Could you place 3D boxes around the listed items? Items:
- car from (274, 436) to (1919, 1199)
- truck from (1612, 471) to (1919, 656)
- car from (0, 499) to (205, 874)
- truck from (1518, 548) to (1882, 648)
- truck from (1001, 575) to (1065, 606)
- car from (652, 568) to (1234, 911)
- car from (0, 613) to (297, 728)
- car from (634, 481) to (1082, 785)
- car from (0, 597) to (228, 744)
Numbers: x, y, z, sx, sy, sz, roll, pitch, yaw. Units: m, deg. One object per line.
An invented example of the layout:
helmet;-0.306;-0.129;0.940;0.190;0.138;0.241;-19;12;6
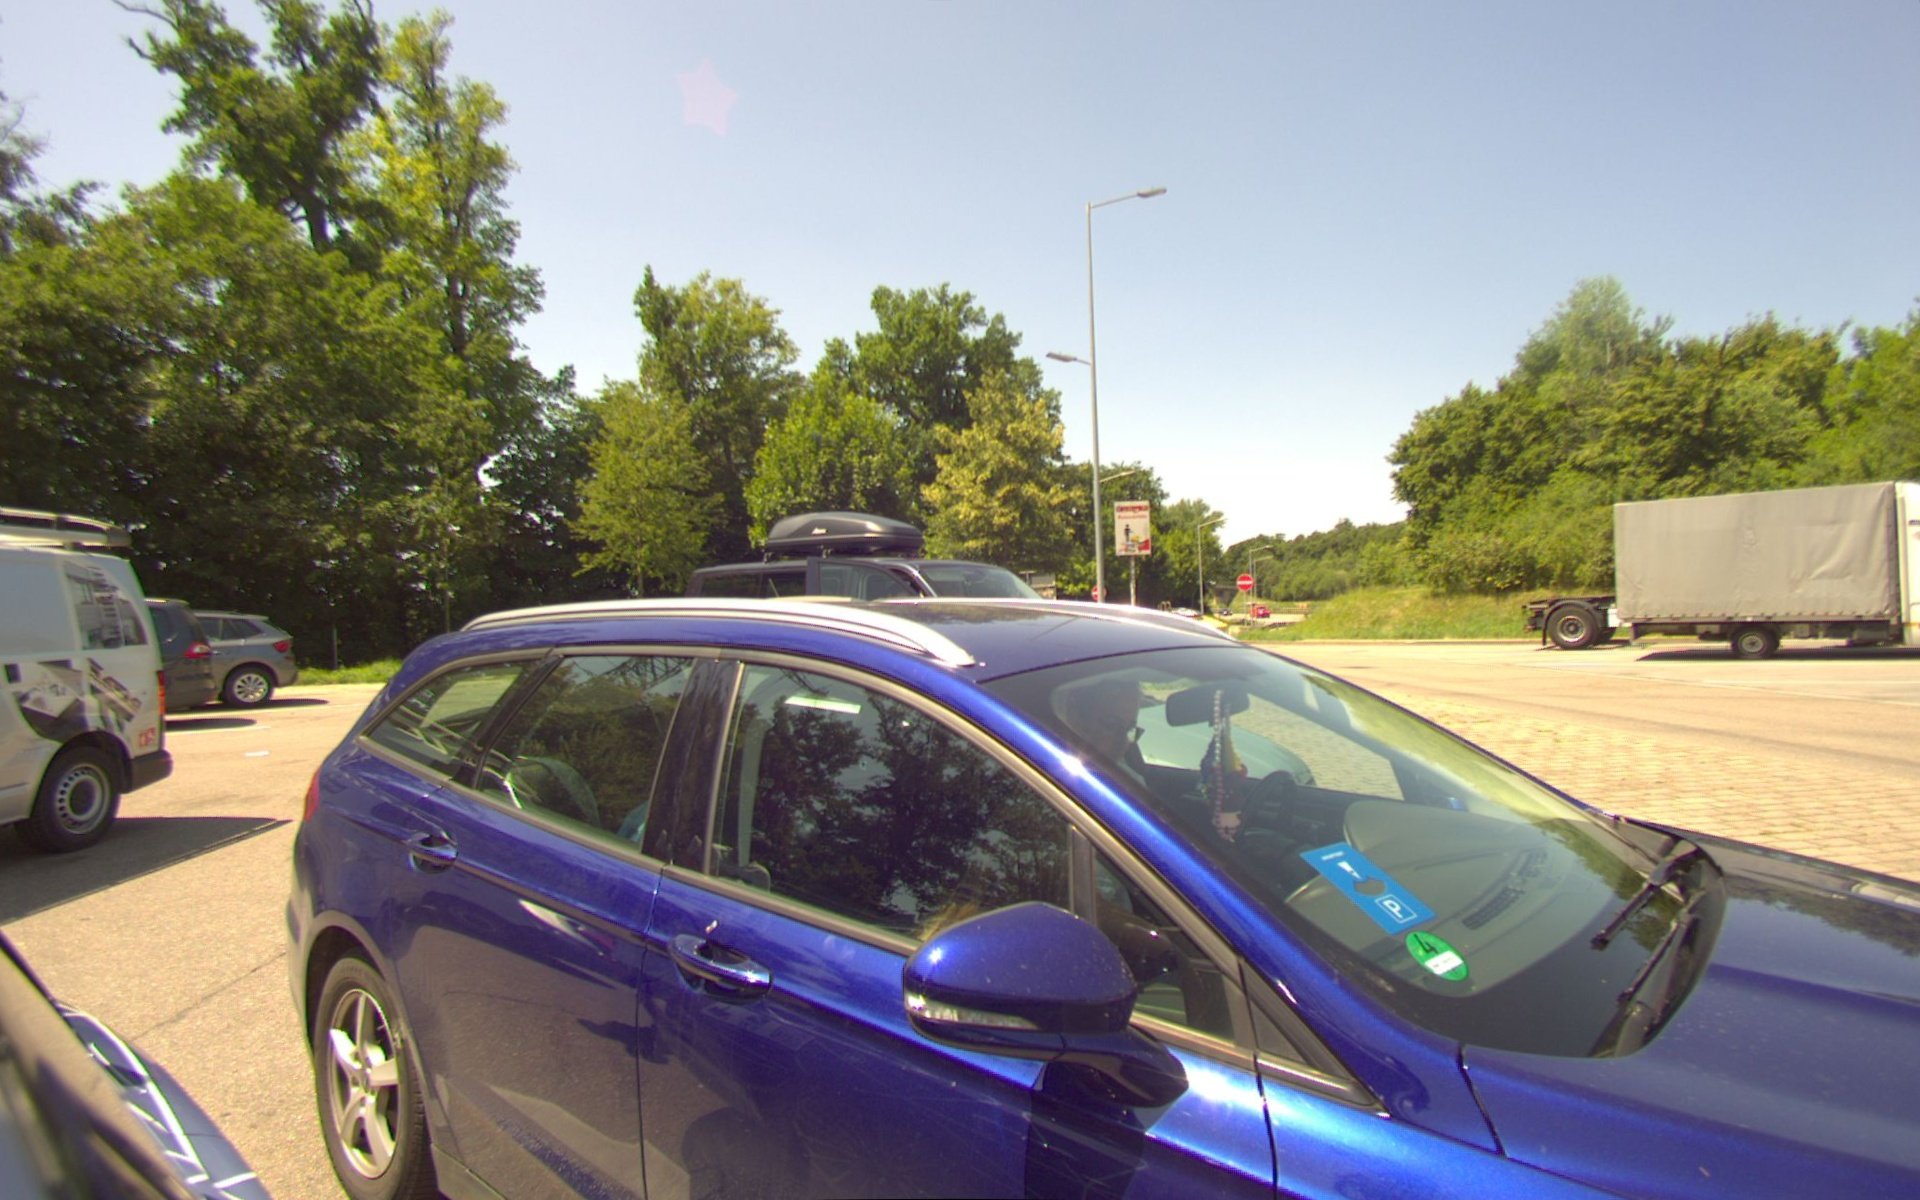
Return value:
car;0.249;0.637;2.108;4.411;1.429;1.721;-2;-1;41
truck;16.607;-0.615;18.805;7.253;3.175;2.148;-2;-1;41
car;-6.257;0.474;4.697;1.816;2.121;5.440;0;-1;-5
truck;16.958;0.050;23.612;6.613;2.029;1.973;-2;-1;41
truck;3.513;-0.458;48.736;2.866;1.386;1.158;-2;-1;22
car;-0.247;0.594;5.587;3.112;1.370;1.326;-2;-1;41
car;-12.555;0.996;15.730;3.535;1.513;1.708;-1;0;-42
car;-1.085;0.314;9.683;4.076;2.336;1.767;-2;-1;35
car;-11.615;0.837;12.617;1.755;1.701;3.798;-2;-1;45
